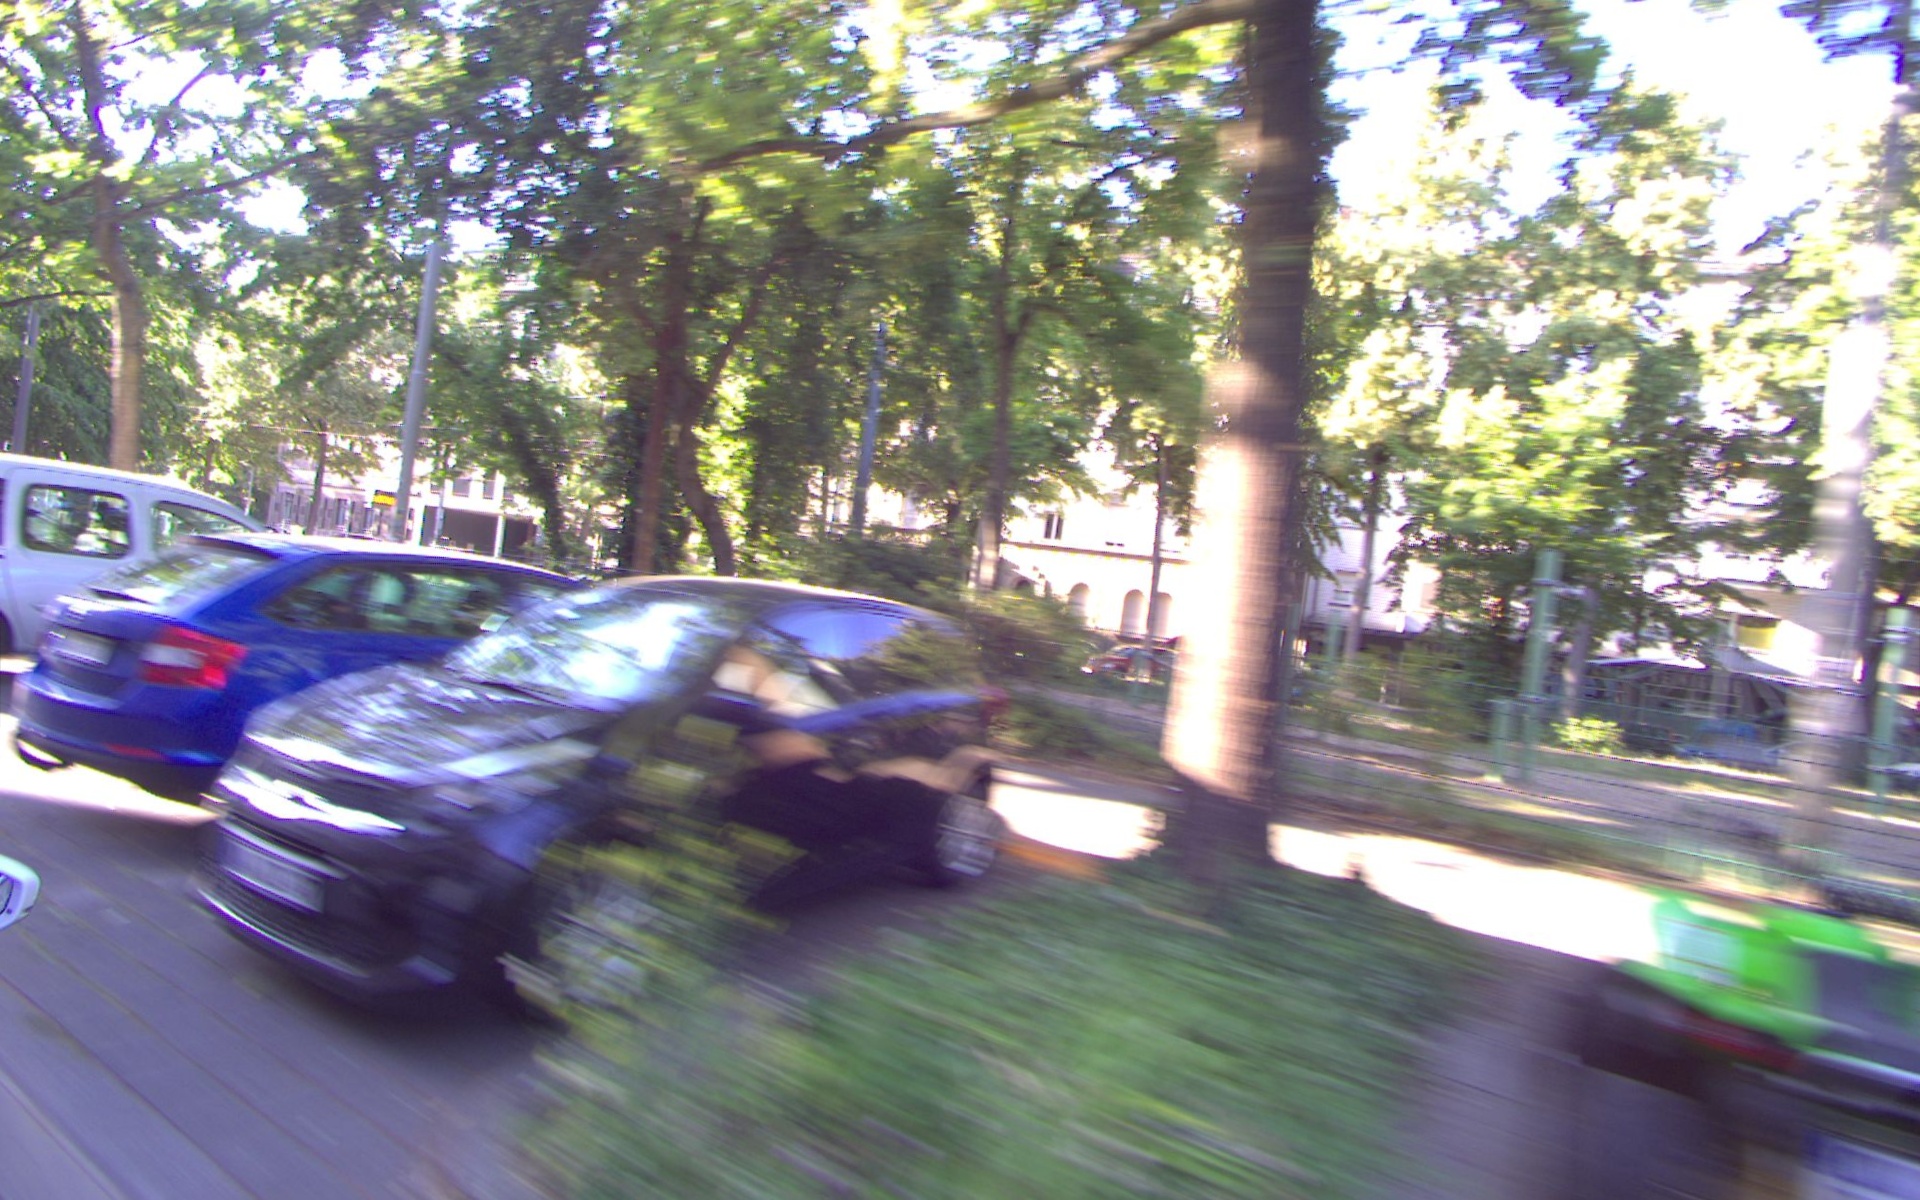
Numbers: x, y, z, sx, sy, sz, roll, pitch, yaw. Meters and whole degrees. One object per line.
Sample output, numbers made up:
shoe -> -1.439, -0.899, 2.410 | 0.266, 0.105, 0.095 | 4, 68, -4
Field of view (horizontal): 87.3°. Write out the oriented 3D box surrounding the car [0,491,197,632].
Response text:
car -> -11.449, -0.556, 11.315 | 1.623, 1.471, 4.220 | 7, 0, 36

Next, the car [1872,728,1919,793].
car -> 34.229, 5.693, 33.936 | 4.648, 2.036, 2.003 | 6, -3, 11

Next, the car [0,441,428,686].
car -> -7.499, -0.283, 9.206 | 1.733, 1.887, 4.223 | 7, 0, 33

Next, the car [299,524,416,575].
car -> -29.573, -2.427, 49.413 | 4.674, 1.702, 1.982 | 9, -4, -35

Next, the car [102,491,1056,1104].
car -> -1.240, 0.578, 4.600 | 1.733, 1.520, 3.677 | 7, 0, 33

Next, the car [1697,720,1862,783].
car -> 28.871, 5.324, 35.573 | 3.923, 1.569, 2.004 | 6, -3, 11

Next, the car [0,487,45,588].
car -> -15.948, -1.136, 14.283 | 1.829, 1.479, 3.990 | 7, 0, 33

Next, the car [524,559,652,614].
car -> -15.974, -0.551, 43.290 | 4.674, 1.702, 1.982 | 9, -4, -35

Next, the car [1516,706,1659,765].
car -> 23.060, 4.947, 37.117 | 3.923, 1.569, 2.004 | 6, -3, 11

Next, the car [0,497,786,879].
car -> -3.118, 0.420, 6.211 | 1.731, 1.460, 4.087 | 7, 0, 29

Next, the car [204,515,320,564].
car -> -35.627, -3.027, 51.468 | 4.675, 1.702, 1.982 | 9, -4, -36

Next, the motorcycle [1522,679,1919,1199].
motorcycle -> 2.373, 1.069, 2.800 | 1.243, 1.478, 1.864 | 5, -3, 33

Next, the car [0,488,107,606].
car -> -13.873, -0.878, 12.775 | 1.834, 1.471, 4.223 | 7, 0, 33

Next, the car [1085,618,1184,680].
car -> 6.183, 1.759, 35.281 | 1.967, 1.702, 3.996 | 5, -4, 31

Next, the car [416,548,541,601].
car -> -21.569, -1.107, 45.170 | 4.674, 1.702, 1.982 | 9, -4, -35

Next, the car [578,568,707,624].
car -> -13.344, -0.152, 42.334 | 4.674, 1.702, 1.982 | 9, -4, -35

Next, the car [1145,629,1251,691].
car -> 9.753, 2.461, 41.059 | 3.924, 2.036, 2.003 | 6, -3, 17
